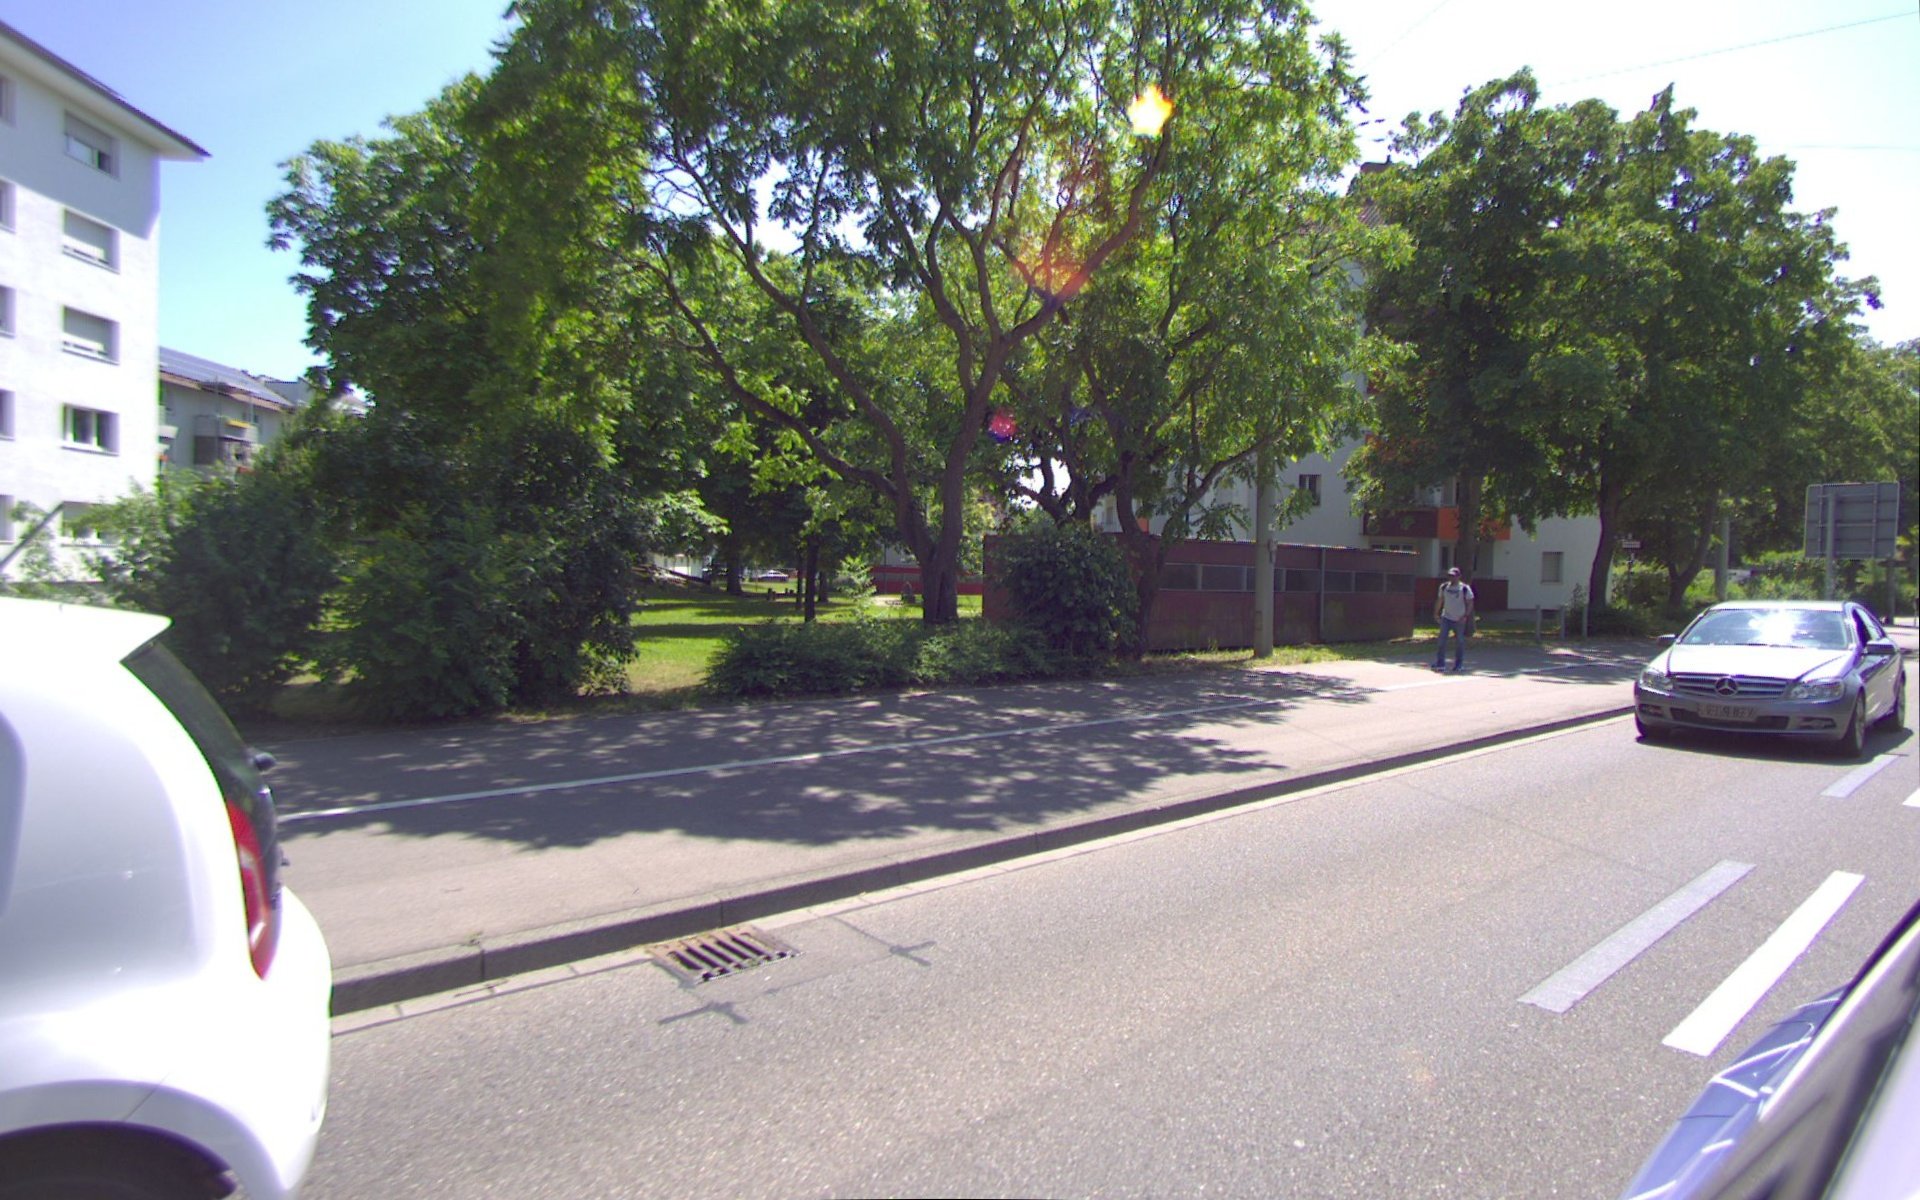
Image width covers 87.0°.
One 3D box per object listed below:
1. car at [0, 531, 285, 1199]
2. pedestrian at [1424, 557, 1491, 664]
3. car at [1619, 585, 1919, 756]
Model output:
[{"bbox_3d":[-3.101,0.628,1.078,3.788,1.467,1.661,0,1,-42],"label":"car"},{"bbox_3d":[8.036,0.155,16.334,0.841,1.664,0.670,0,1,-40],"label":"pedestrian"},{"bbox_3d":[8.773,0.611,10.798,3.901,1.478,1.902,0,0,-41],"label":"car"}]
